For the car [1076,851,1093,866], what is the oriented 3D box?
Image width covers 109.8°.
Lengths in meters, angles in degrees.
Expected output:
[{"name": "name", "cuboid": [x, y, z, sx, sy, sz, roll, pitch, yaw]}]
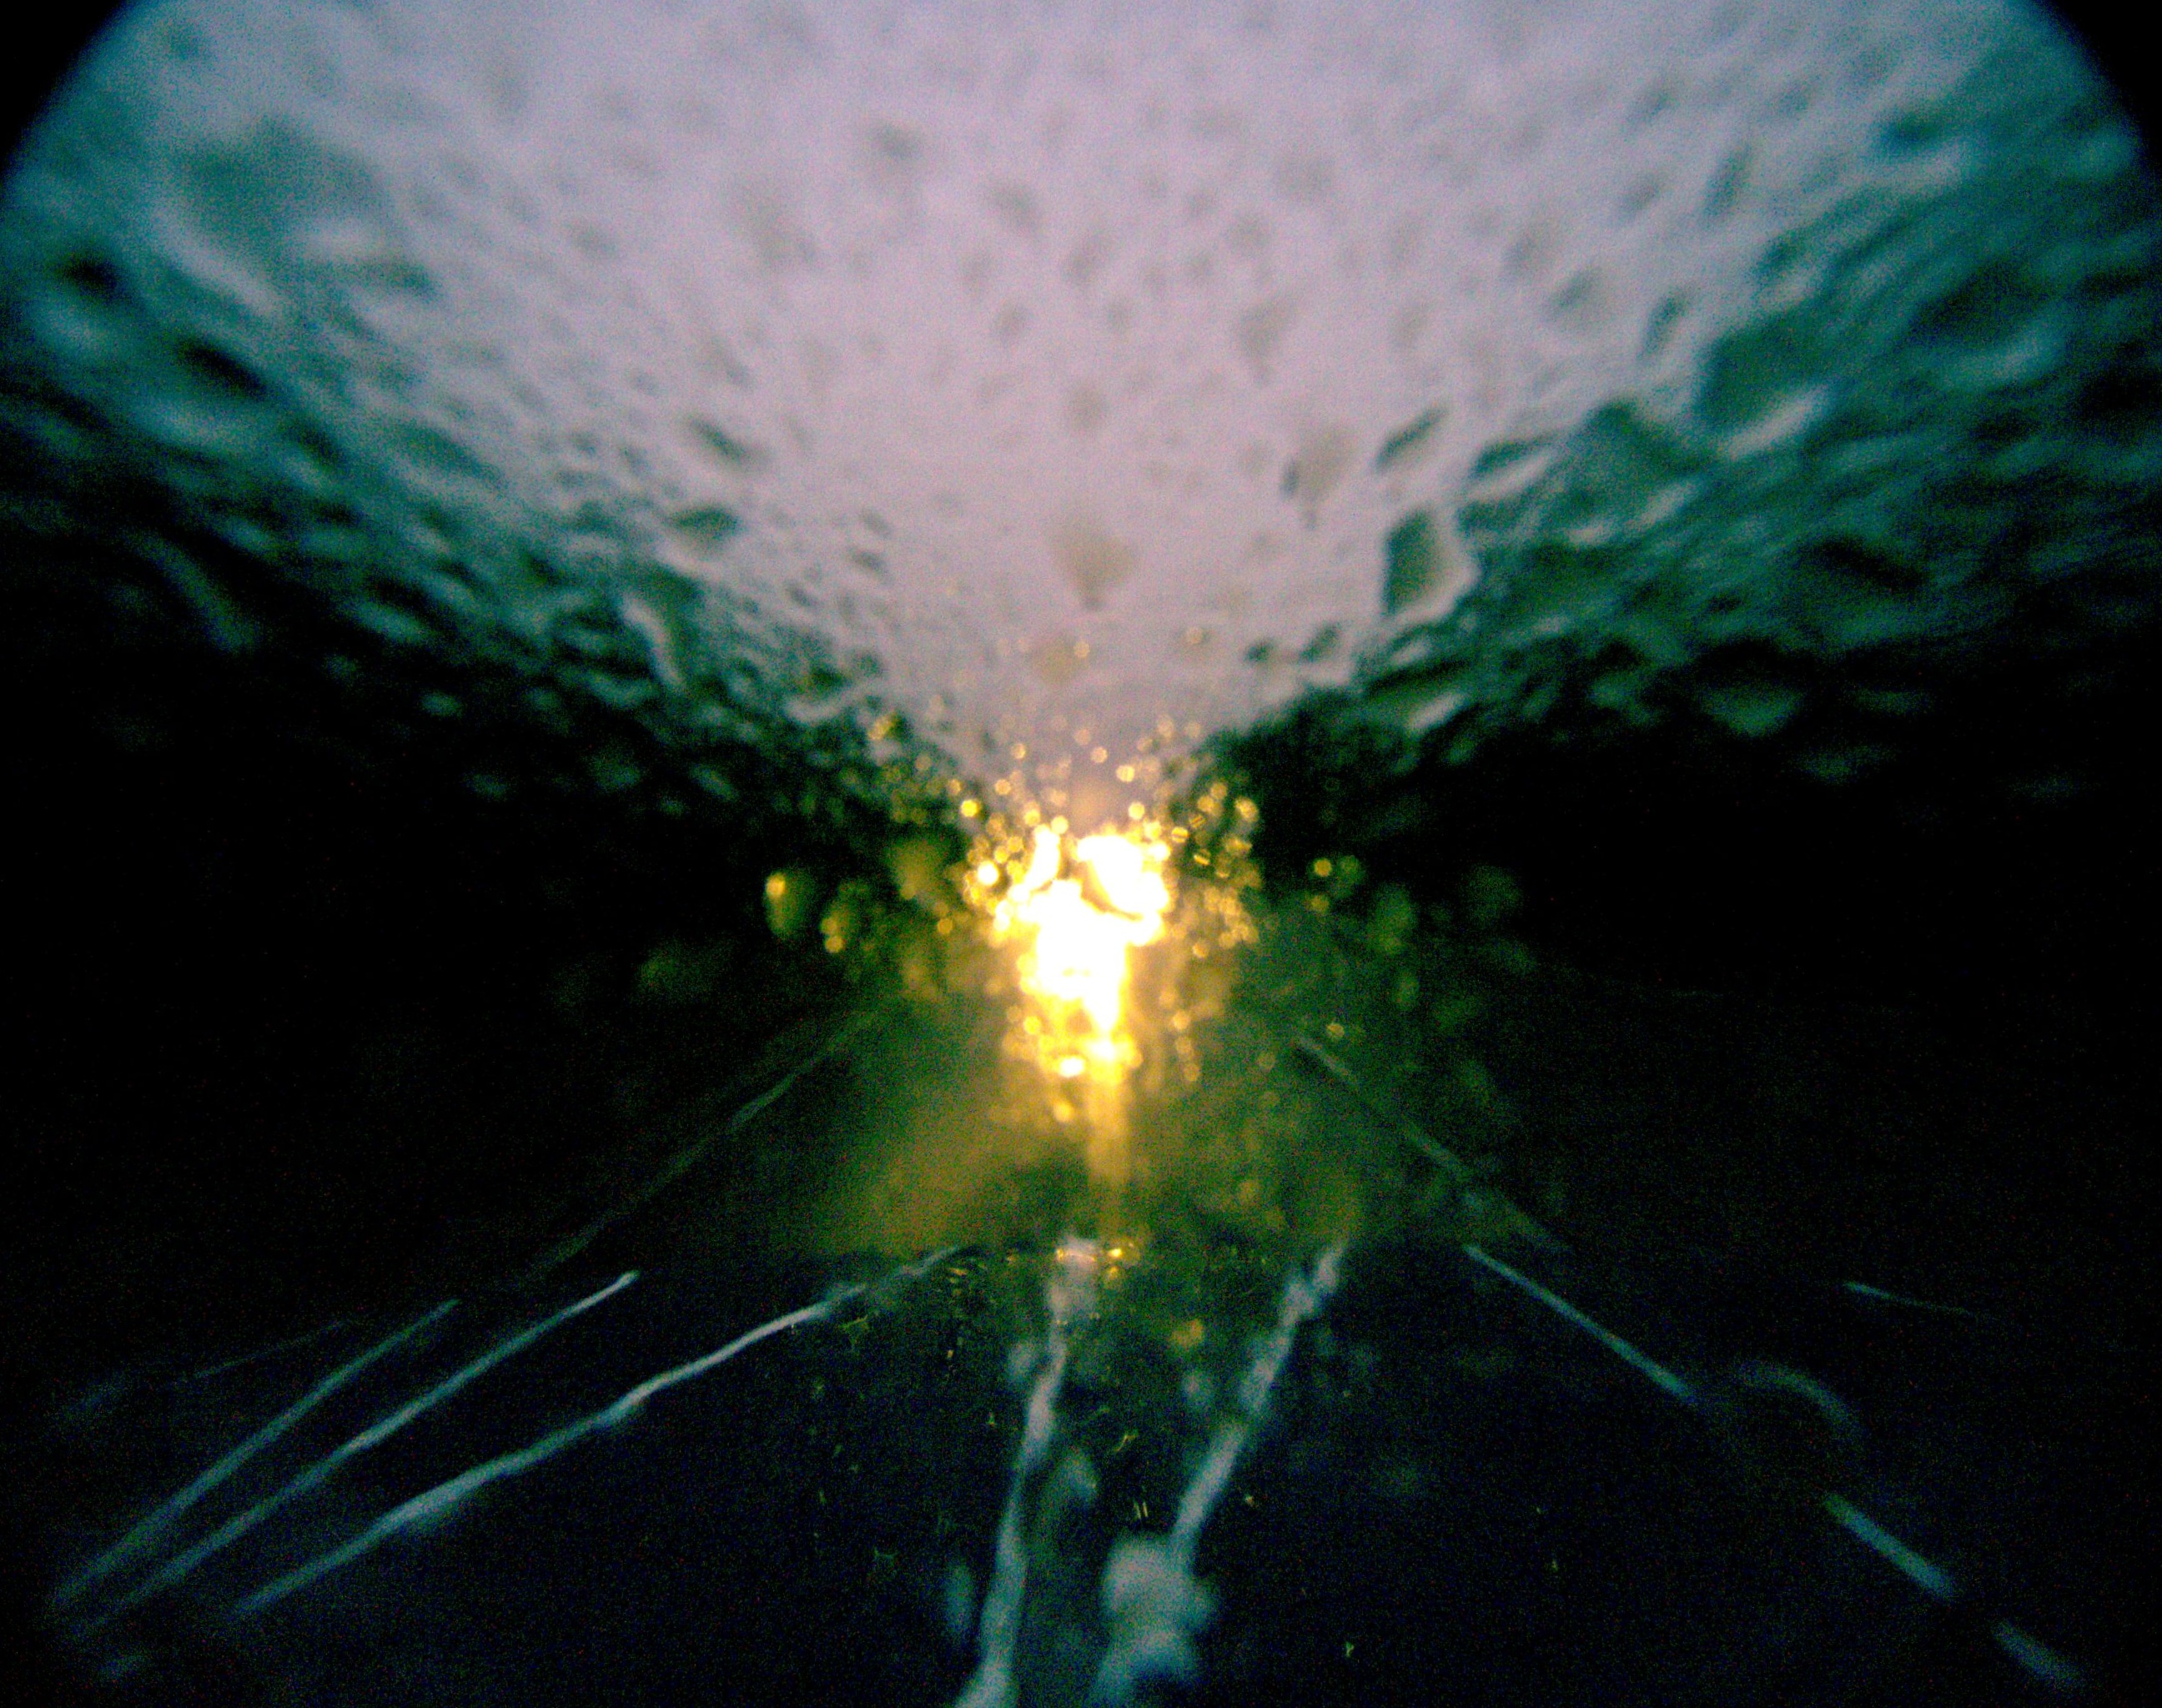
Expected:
[{"name": "car", "cuboid": [0.440, 0.522, 96.118, 1.998, 1.752, 4.371, -2, 1, 1]}]

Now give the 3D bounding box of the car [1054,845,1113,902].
[{"name": "car", "cuboid": [0.158, 0.575, 25.510, 1.572, 1.701, 4.001, -2, 1, 5]}]
